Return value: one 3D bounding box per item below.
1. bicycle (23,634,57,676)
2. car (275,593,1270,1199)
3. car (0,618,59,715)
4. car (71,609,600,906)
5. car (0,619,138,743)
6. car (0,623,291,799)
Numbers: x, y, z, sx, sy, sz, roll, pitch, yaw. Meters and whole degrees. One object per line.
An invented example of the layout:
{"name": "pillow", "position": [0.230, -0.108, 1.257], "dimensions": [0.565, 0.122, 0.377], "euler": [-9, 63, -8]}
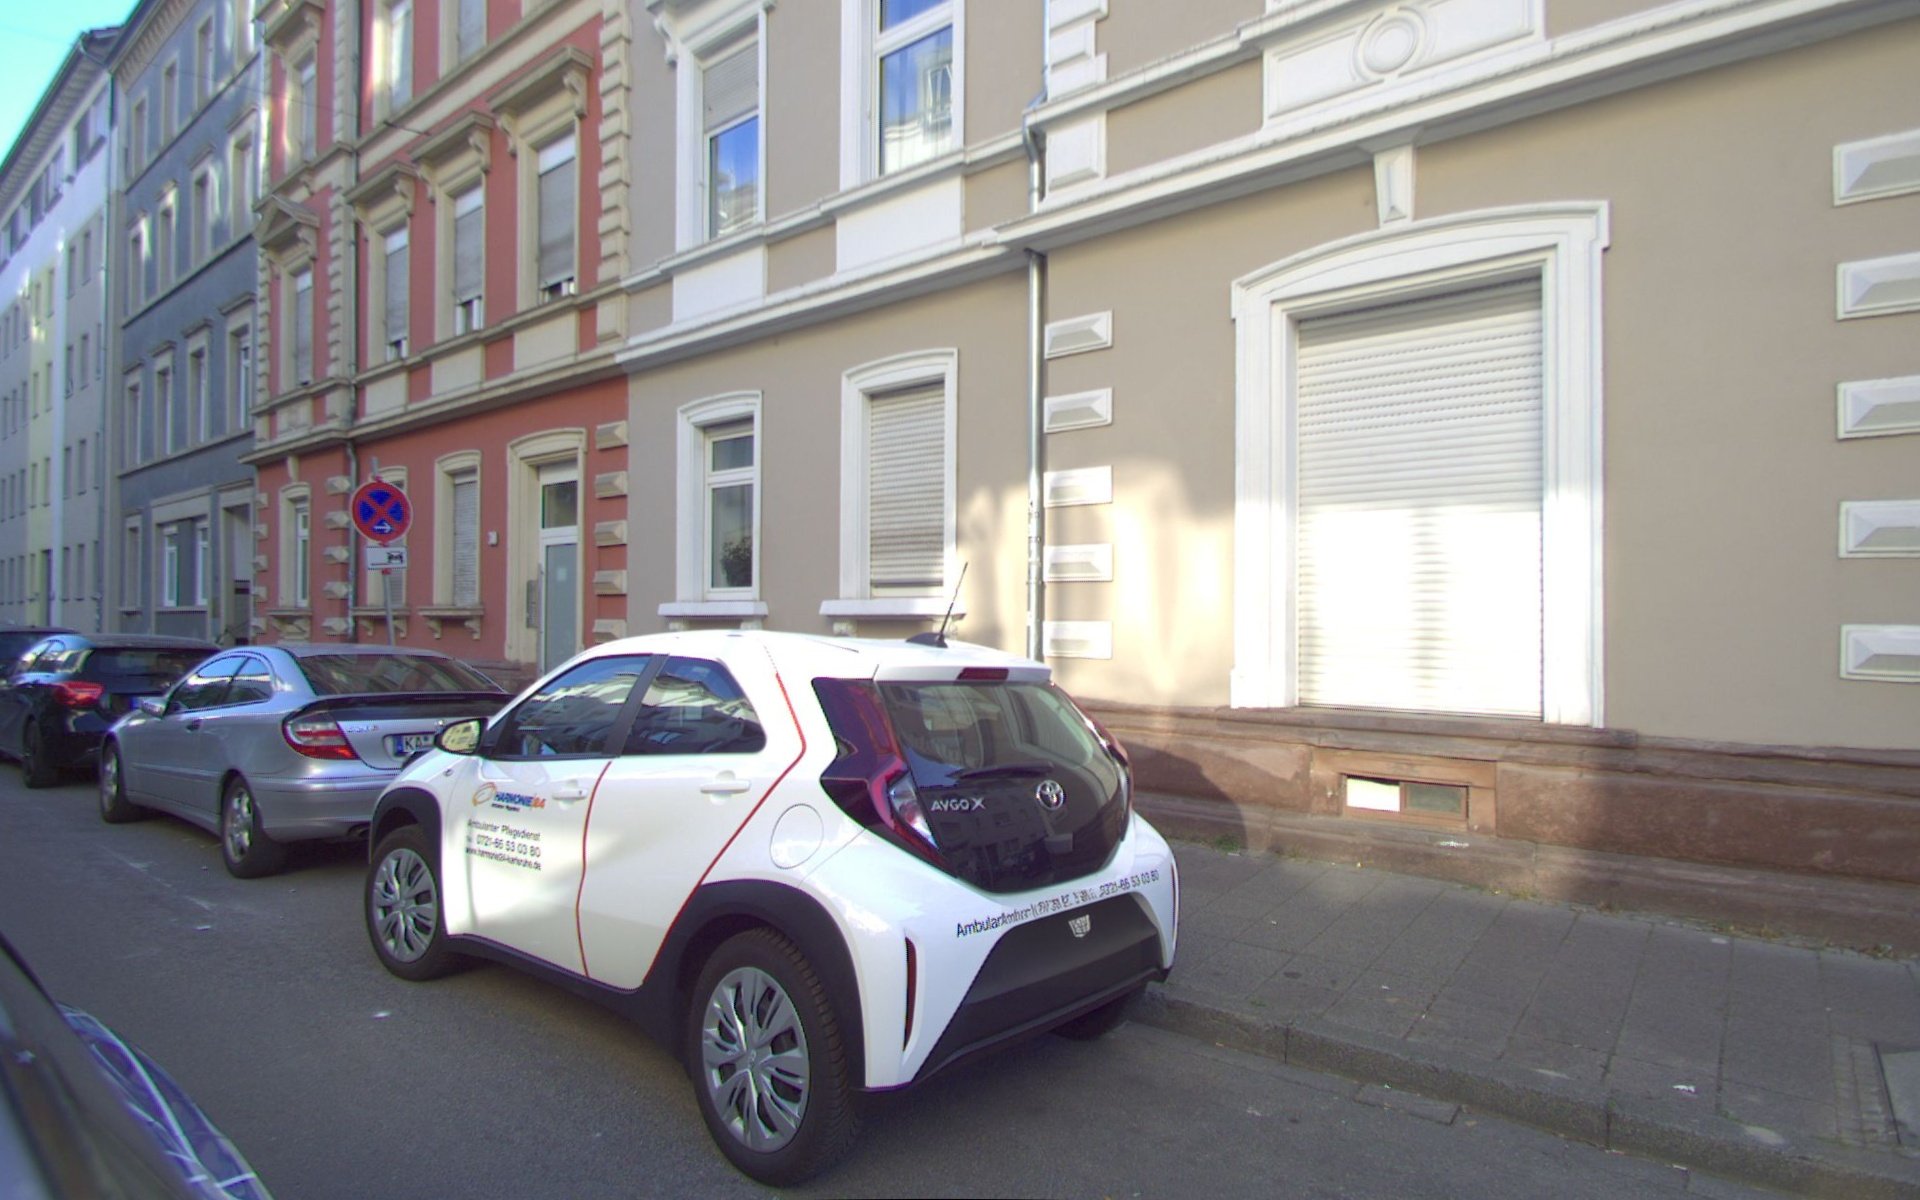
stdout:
{"name": "bicycle", "position": [-25.228, 1.495, 27.750], "dimensions": [1.750, 1.082, 0.446], "euler": [-1, -1, 39]}
{"name": "car", "position": [-1.101, 0.845, 4.333], "dimensions": [4.263, 1.519, 1.901], "euler": [-2, -4, 40]}
{"name": "car", "position": [-17.410, 1.115, 17.518], "dimensions": [4.260, 1.572, 1.902], "euler": [-2, -4, 38]}
{"name": "car", "position": [-4.737, 0.929, 7.463], "dimensions": [4.260, 1.572, 1.902], "euler": [-2, -4, 38]}
{"name": "car", "position": [-13.637, 1.102, 14.526], "dimensions": [4.234, 1.572, 1.883], "euler": [-2, -4, 38]}
{"name": "car", "position": [-9.024, 1.047, 10.737], "dimensions": [4.260, 1.495, 1.902], "euler": [-2, -4, 38]}
